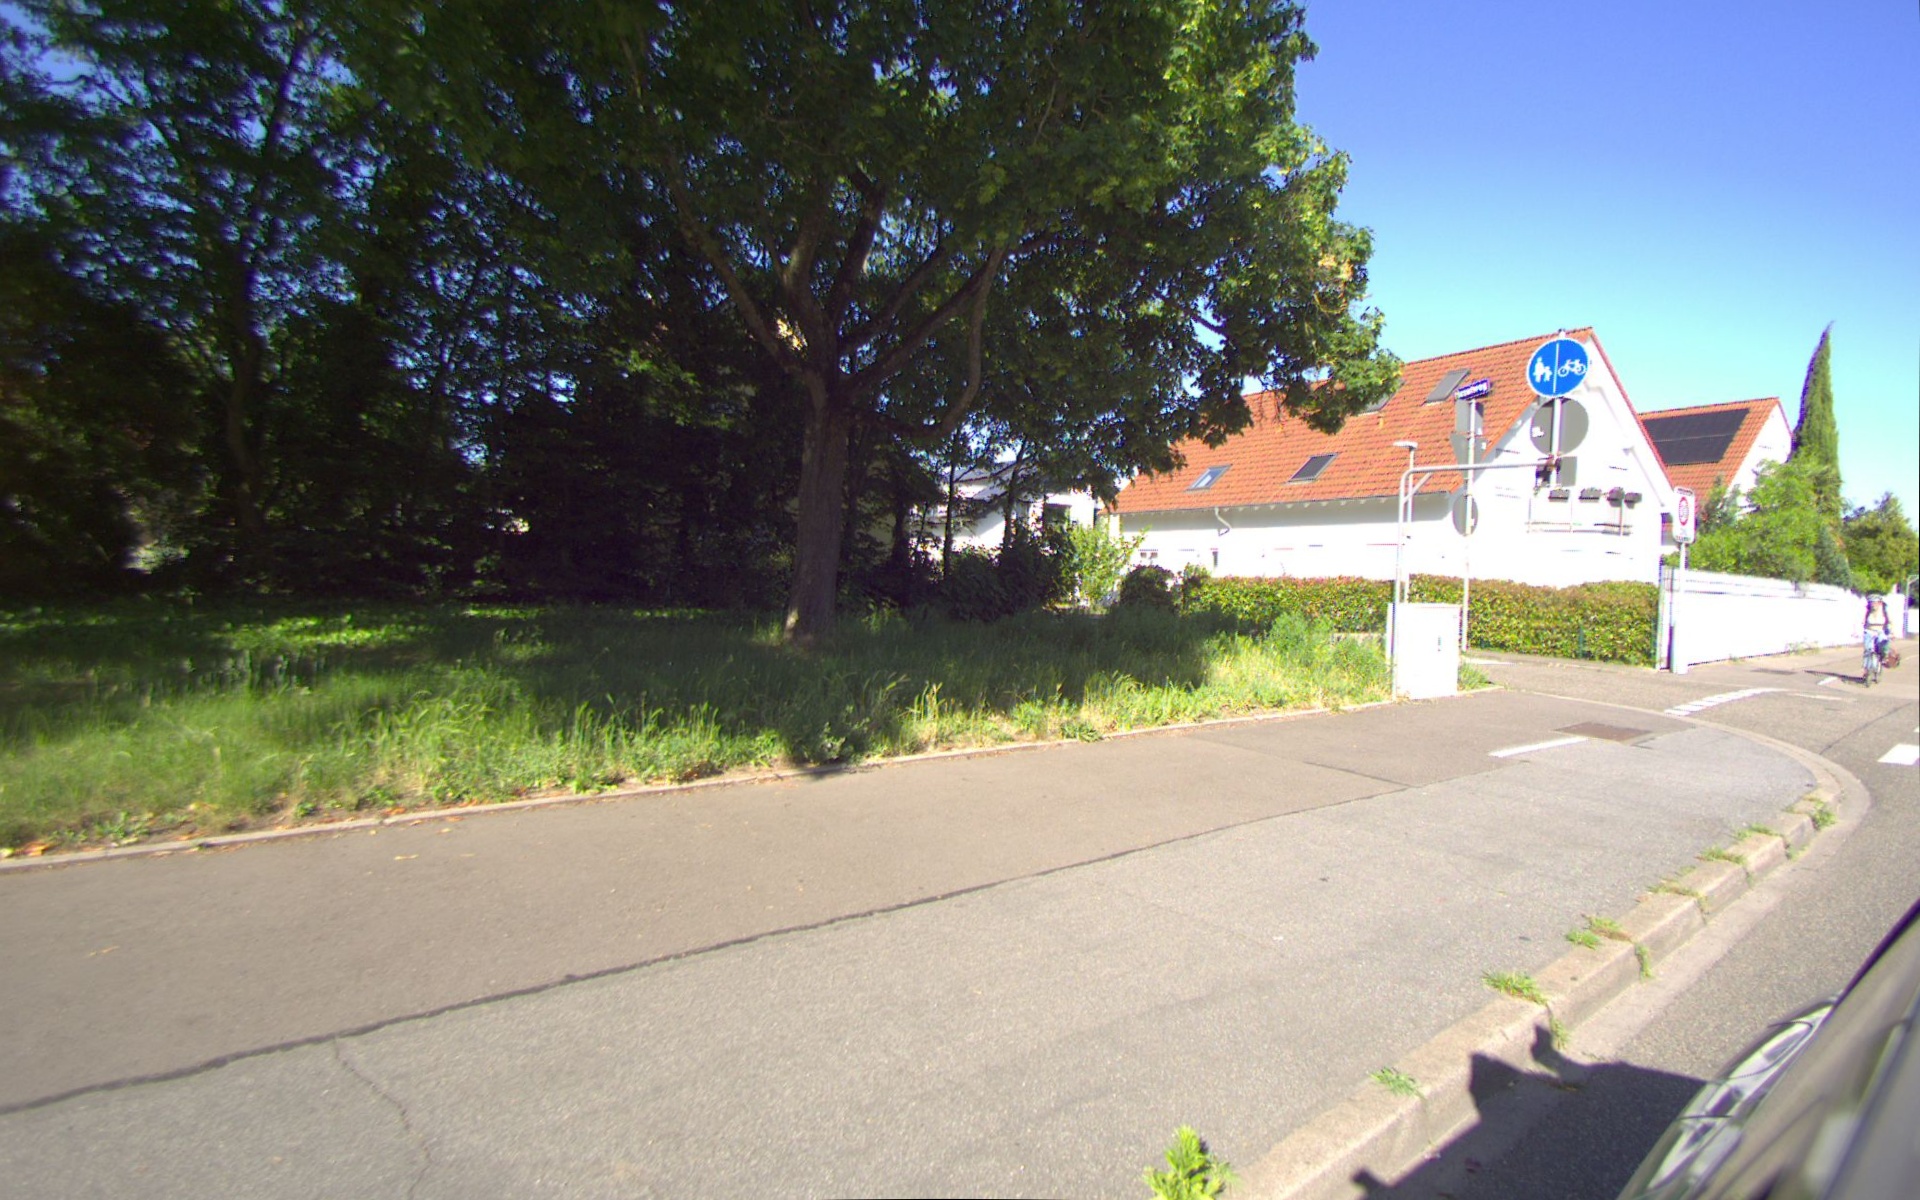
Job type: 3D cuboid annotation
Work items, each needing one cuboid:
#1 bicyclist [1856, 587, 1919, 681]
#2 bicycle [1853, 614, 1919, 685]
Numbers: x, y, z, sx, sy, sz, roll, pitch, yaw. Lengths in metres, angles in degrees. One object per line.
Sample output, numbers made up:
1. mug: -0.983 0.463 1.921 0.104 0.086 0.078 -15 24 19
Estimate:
1. bicyclist: 17.301 0.620 18.845 0.964 1.652 0.632 2 4 -39
2. bicycle: 17.280 0.884 18.825 2.102 1.168 0.576 -1 5 -39
